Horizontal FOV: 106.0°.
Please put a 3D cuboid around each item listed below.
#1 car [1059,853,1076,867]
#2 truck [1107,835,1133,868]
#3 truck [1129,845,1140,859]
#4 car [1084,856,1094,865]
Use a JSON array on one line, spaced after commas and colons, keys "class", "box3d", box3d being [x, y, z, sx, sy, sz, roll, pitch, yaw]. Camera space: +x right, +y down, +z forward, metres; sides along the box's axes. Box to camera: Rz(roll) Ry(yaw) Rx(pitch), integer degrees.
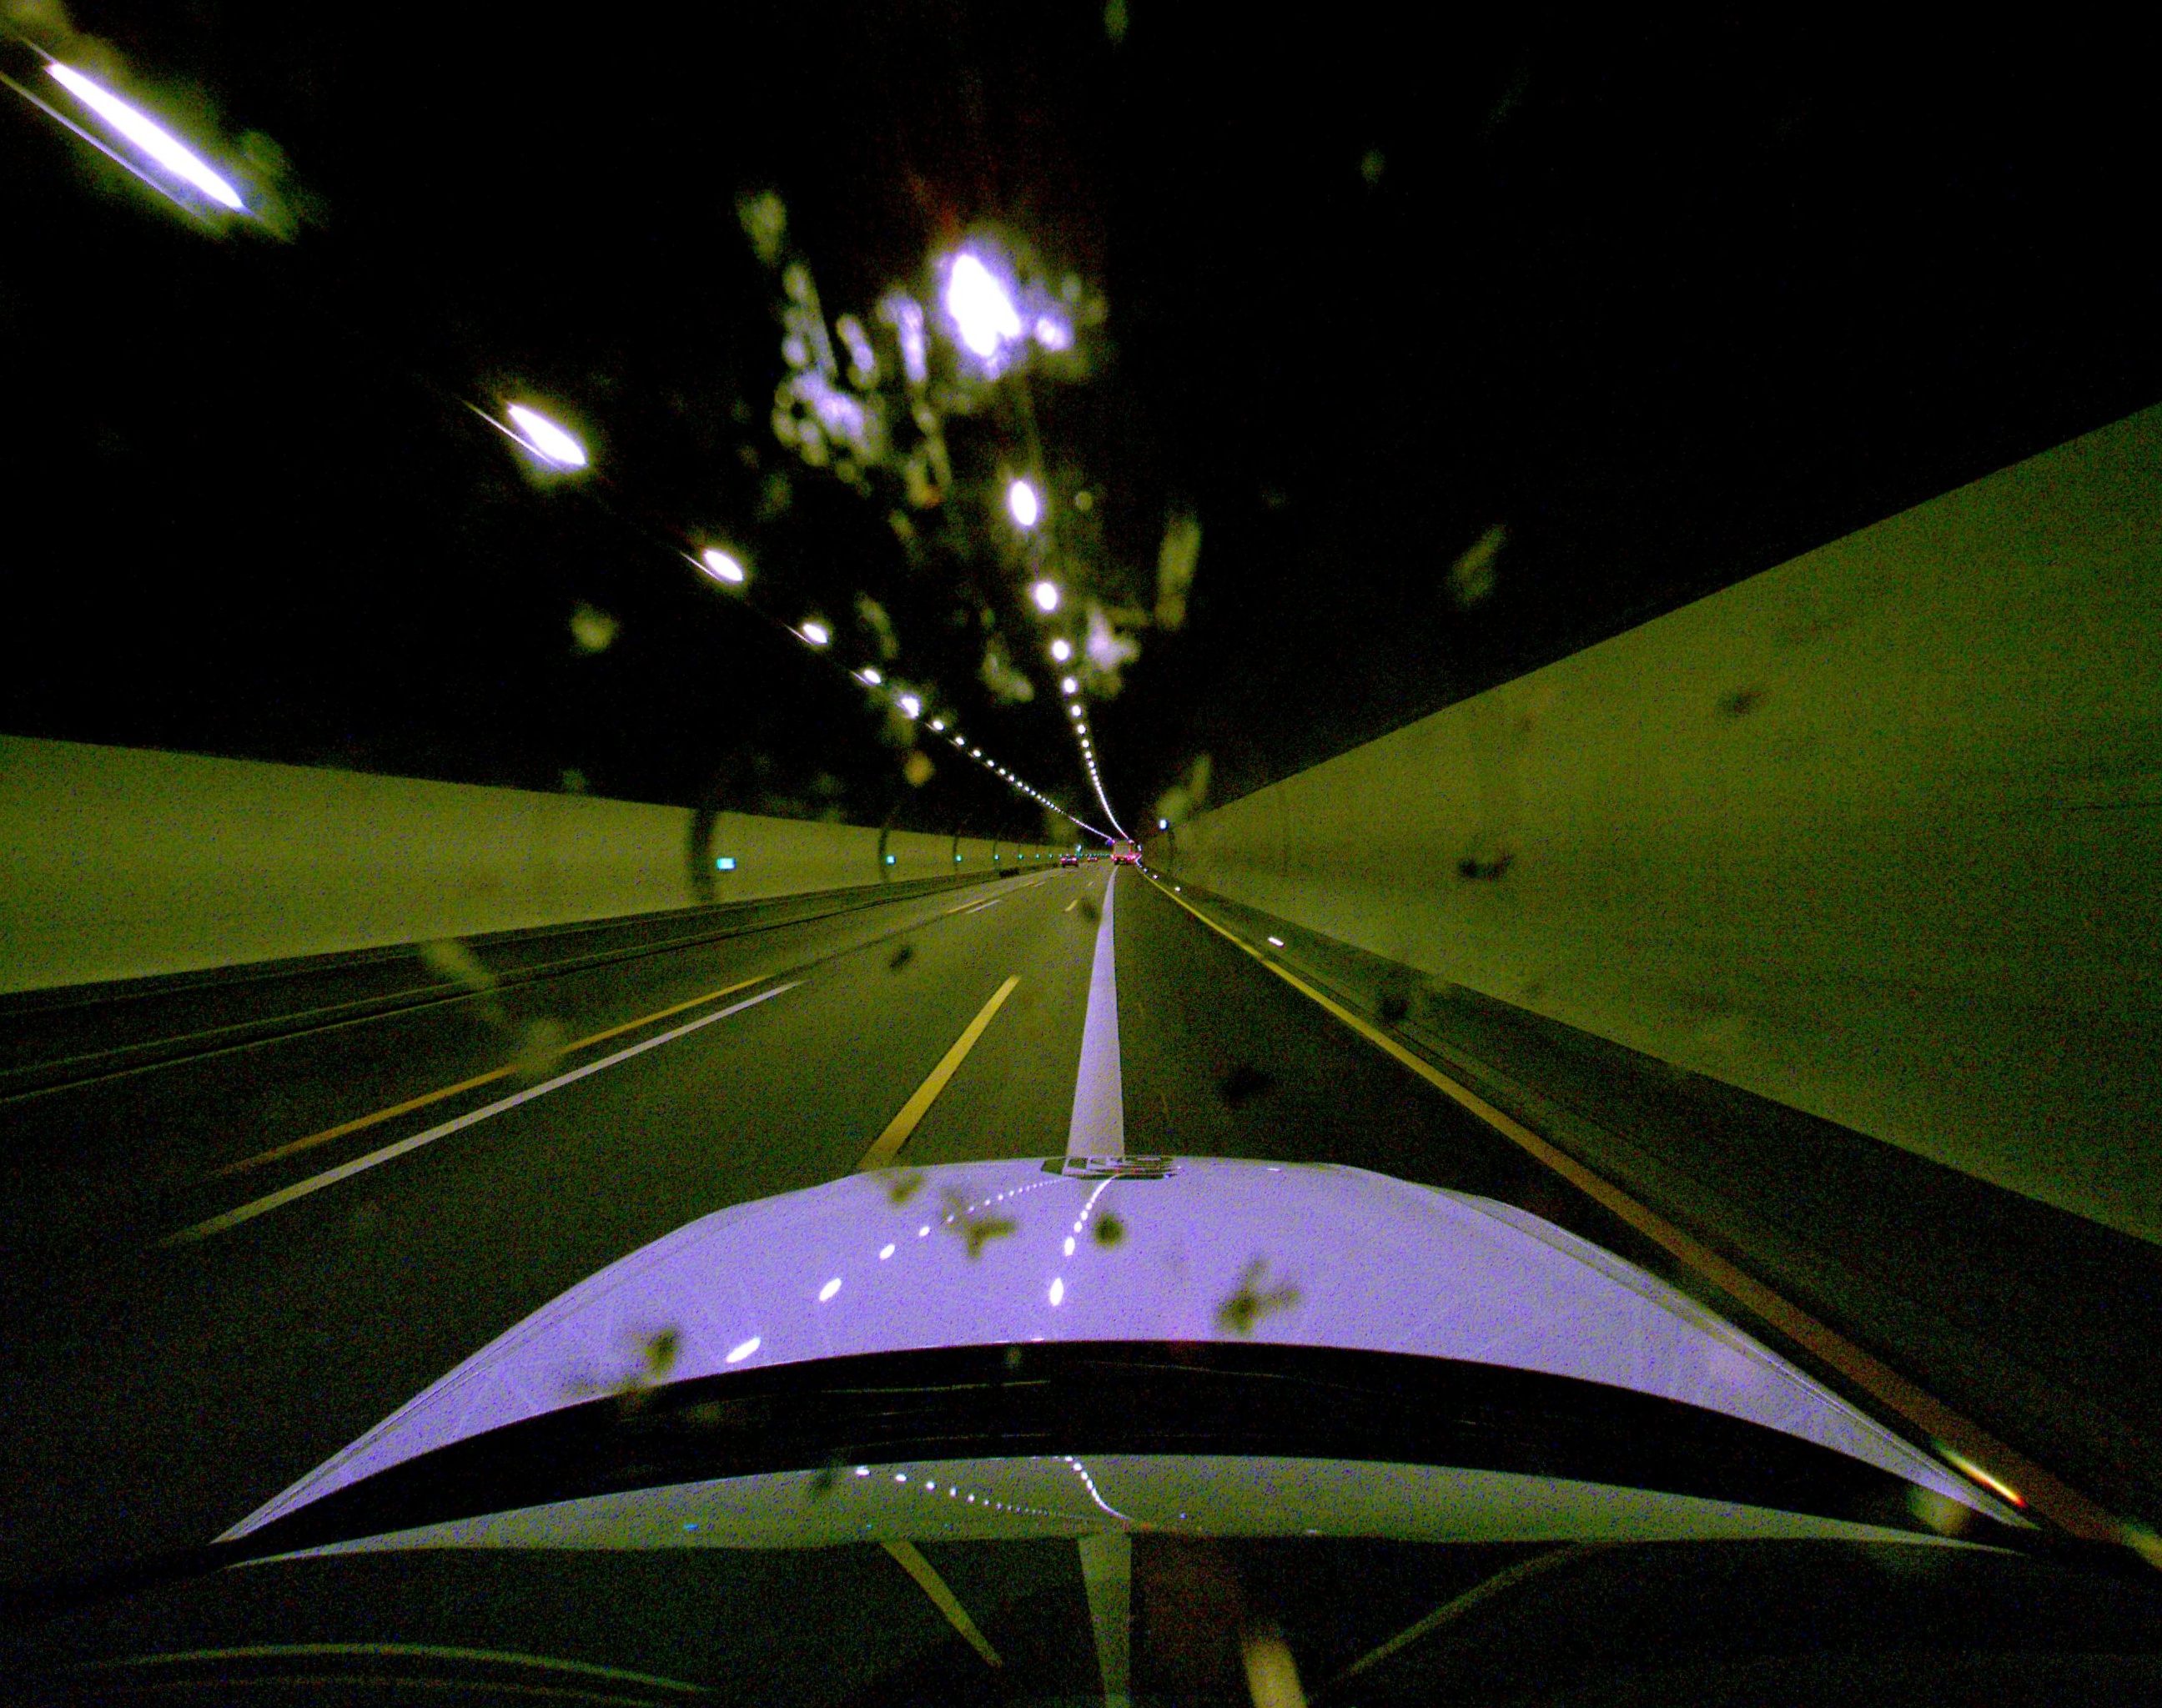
[{"class": "car", "box3d": [-1.642, 0.695, 97.527, 1.806, 1.618, 4.002, -1, 0, 2]}, {"class": "truck", "box3d": [5.983, -0.325, 126.427, 3.267, 4.650, 17.287, -2, 0, 1]}, {"class": "truck", "box3d": [16.197, -0.703, 248.278, 2.911, 4.048, 14.039, -2, 0, 3]}, {"class": "car", "box3d": [1.583, 1.286, 153.033, 1.806, 1.520, 4.001, -1, 1, 1]}]
